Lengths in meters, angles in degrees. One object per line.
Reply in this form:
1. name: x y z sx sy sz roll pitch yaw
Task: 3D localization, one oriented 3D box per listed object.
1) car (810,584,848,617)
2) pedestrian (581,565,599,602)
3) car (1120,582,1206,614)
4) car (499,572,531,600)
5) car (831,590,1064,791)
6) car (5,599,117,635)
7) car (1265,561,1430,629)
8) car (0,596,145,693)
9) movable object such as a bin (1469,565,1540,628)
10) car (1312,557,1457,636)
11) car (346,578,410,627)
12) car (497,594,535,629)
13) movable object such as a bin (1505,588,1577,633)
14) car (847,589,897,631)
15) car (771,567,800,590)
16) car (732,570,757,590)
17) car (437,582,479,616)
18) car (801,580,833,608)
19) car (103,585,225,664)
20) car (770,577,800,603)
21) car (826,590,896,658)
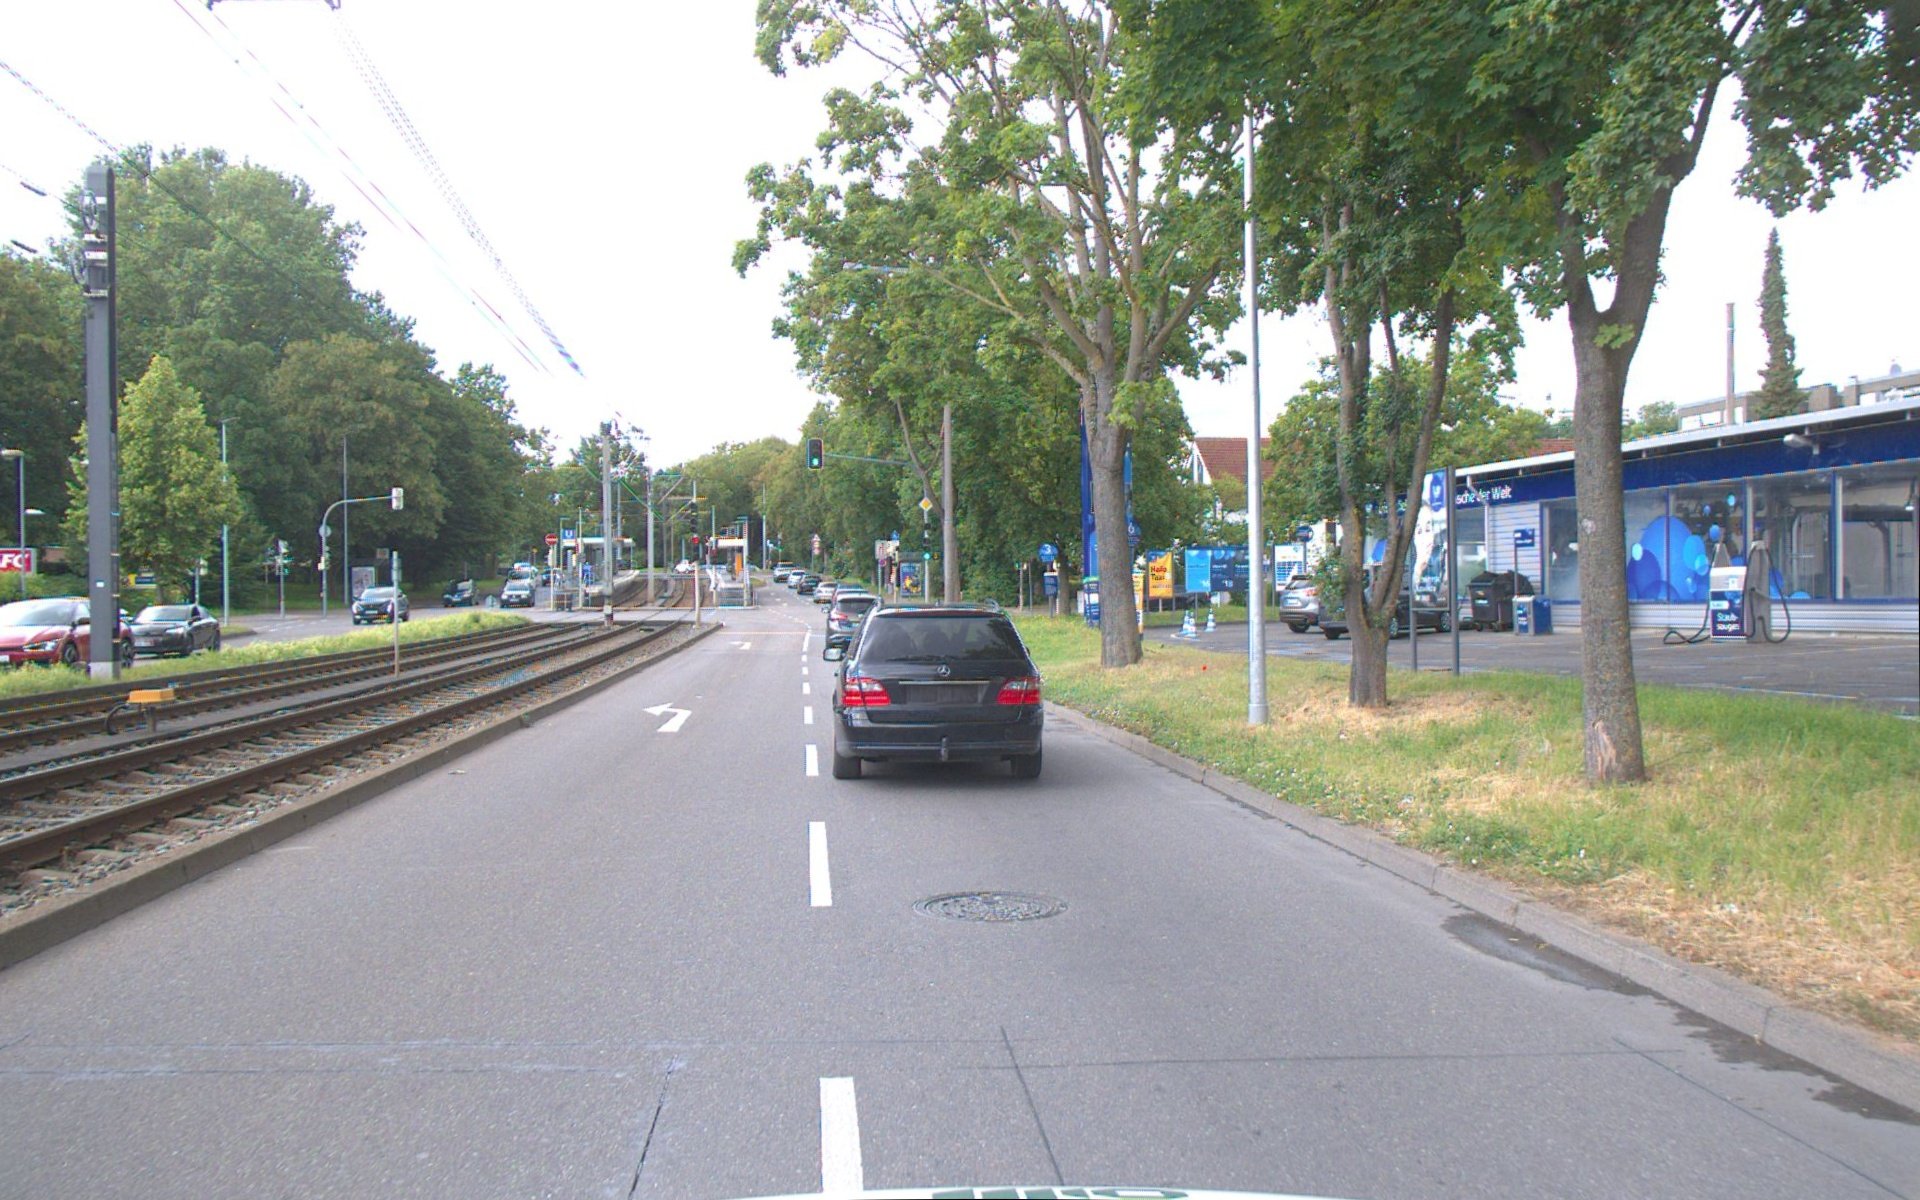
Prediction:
1. car: -8.073 0.030 101.772 1.957 1.926 3.991 2 0 -9
2. pedestrian: -22.800 -1.025 101.897 0.951 2.224 0.974 0 0 -8
3. car: 10.120 -0.096 82.531 4.067 1.552 1.704 -1 0 -1
4. car: -33.583 -1.068 124.967 1.958 2.049 4.872 -1 0 -12
5. car: -0.248 0.693 14.861 1.747 1.552 3.995 0 0 -6
6. car: -38.838 0.740 71.535 3.805 1.432 1.844 -1 0 -8
7. car: 10.598 -0.155 45.198 4.144 1.727 1.827 -2 1 -24
8. car: -16.635 0.779 30.253 1.750 1.609 4.474 -2 0 -8
9. movable object such as a bin: 13.543 -0.086 41.160 1.137 1.500 1.384 -1 0 -10
10. car: 10.649 -0.116 41.304 1.719 1.853 4.359 -1 0 41
11. car: -25.731 0.093 73.246 1.957 2.049 4.237 -1 0 -10
12. car: -25.462 0.652 94.961 1.666 1.893 3.991 2 0 -9
13. movable object such as a bin: 13.477 0.242 38.378 1.137 0.993 1.186 -1 0 -10
14. car: -4.315 0.486 80.508 1.957 1.952 3.991 2 0 -9
15. car: -16.327 -1.982 154.397 1.962 2.049 3.981 2 0 -17
16. car: -23.368 -2.160 179.270 1.963 2.049 3.978 2 0 -19
17. car: -31.369 -0.066 103.440 1.957 2.049 4.097 -1 0 -10
18. car: -10.535 -0.458 121.661 1.957 2.001 3.991 2 0 -9
19. car: -21.898 0.636 45.656 1.957 2.049 3.991 -1 0 -10
20. car: -14.708 -0.845 138.662 1.959 2.049 3.986 2 0 -13
21. car: -2.623 0.615 44.110 1.746 1.677 3.997 2 0 -3
